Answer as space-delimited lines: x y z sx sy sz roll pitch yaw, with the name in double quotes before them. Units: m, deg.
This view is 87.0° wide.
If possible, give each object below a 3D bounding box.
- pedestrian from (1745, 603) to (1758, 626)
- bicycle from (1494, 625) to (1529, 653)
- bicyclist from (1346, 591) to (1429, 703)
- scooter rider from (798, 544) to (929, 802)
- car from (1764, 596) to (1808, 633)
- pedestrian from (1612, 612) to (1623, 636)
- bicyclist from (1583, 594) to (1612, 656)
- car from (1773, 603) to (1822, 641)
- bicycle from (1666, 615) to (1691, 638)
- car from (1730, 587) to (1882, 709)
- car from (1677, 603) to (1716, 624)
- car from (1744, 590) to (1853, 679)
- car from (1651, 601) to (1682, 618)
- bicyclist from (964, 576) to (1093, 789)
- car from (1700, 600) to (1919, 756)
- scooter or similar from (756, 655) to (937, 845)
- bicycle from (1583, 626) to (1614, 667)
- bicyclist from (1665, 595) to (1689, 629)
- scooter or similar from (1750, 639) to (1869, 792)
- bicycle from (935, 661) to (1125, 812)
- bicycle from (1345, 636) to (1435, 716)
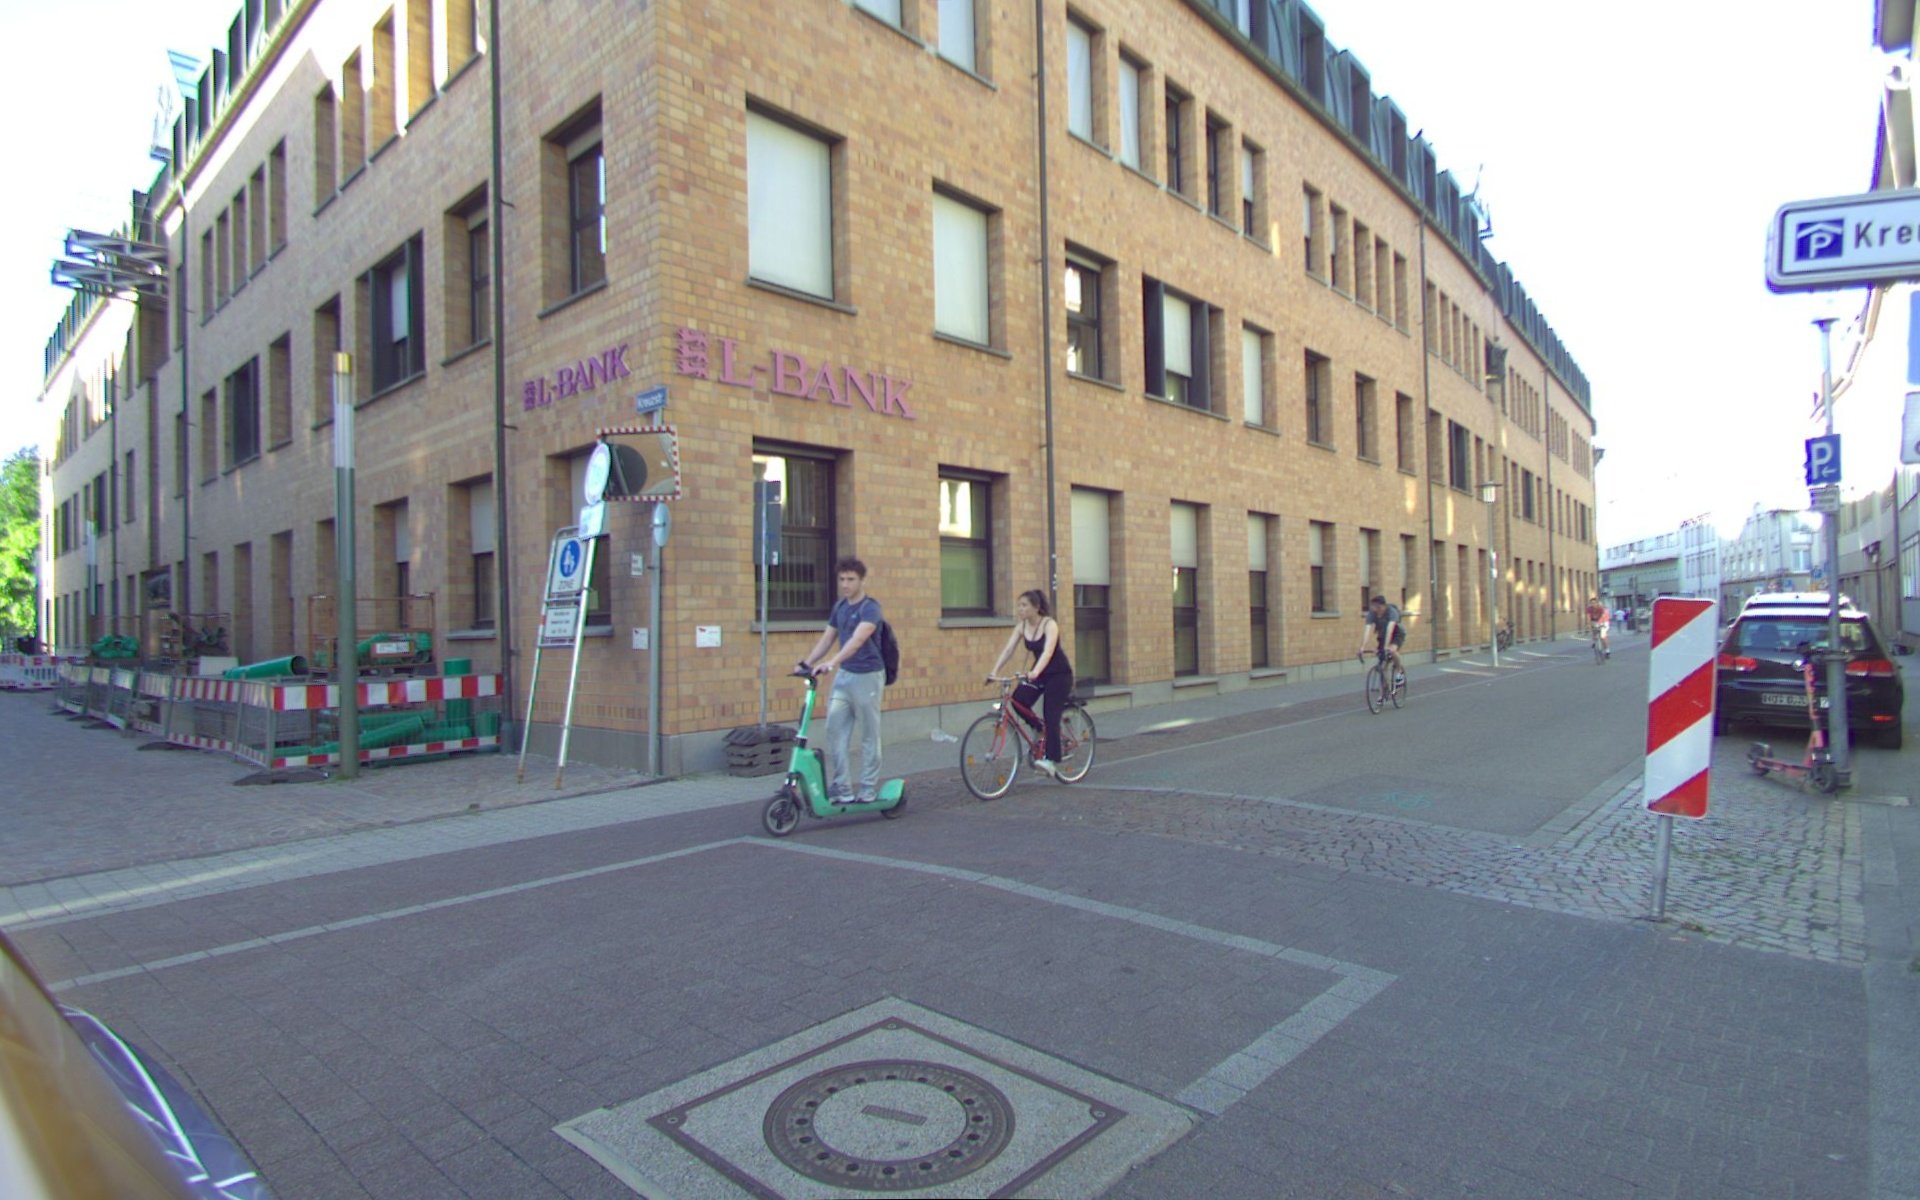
"pedestrian" 50.963 0.930 65.132 0.570 1.490 0.468 -2 -2 34
"bicycle" 19.013 1.335 34.891 0.642 0.888 2.524 -1 -1 38
"bicyclist" 6.277 0.686 14.861 0.650 1.570 1.093 -7 -5 44
"scooter rider" -0.702 0.507 7.310 0.691 1.739 0.650 1 -3 -39
"car" 42.287 0.729 51.832 1.692 1.789 3.608 0 0 39
"pedestrian" 42.792 1.566 65.907 0.543 1.556 0.399 -1 -1 40
"bicyclist" 16.055 0.633 25.493 0.428 1.509 0.864 -5 -4 40
"car" 38.999 0.994 47.176 1.692 1.692 3.461 0 0 39
"bicycle" 36.547 1.330 51.498 0.705 1.112 1.801 -7 -5 43
"car" 13.403 0.670 16.034 1.673 1.674 4.025 0 0 41
"car" 60.588 1.138 83.335 1.926 1.663 3.801 -2 -1 27
"car" 17.965 0.676 21.655 1.673 1.717 3.958 0 0 41
"car" 68.049 0.922 97.567 1.926 1.663 3.801 -1 -1 27
"bicyclist" 0.580 0.674 8.499 0.620 1.679 0.812 -6 -4 42
"car" 9.991 0.767 11.933 1.740 1.497 3.759 0 1 41
"scooter or similar" -0.784 1.015 7.163 1.259 1.195 0.337 0 -5 -40
"bicycle" 16.093 1.158 25.495 0.436 0.964 1.570 -2 -2 40
"bicyclist" 36.520 0.600 51.563 0.773 1.668 0.943 -6 -5 43
"scooter or similar" 7.076 0.931 8.458 0.205 1.193 0.882 -1 -2 1
"bicycle" 0.630 1.091 8.520 0.591 1.060 1.776 -5 -4 41
"bicycle" 6.340 1.091 14.869 0.574 1.059 1.810 -4 -3 44
